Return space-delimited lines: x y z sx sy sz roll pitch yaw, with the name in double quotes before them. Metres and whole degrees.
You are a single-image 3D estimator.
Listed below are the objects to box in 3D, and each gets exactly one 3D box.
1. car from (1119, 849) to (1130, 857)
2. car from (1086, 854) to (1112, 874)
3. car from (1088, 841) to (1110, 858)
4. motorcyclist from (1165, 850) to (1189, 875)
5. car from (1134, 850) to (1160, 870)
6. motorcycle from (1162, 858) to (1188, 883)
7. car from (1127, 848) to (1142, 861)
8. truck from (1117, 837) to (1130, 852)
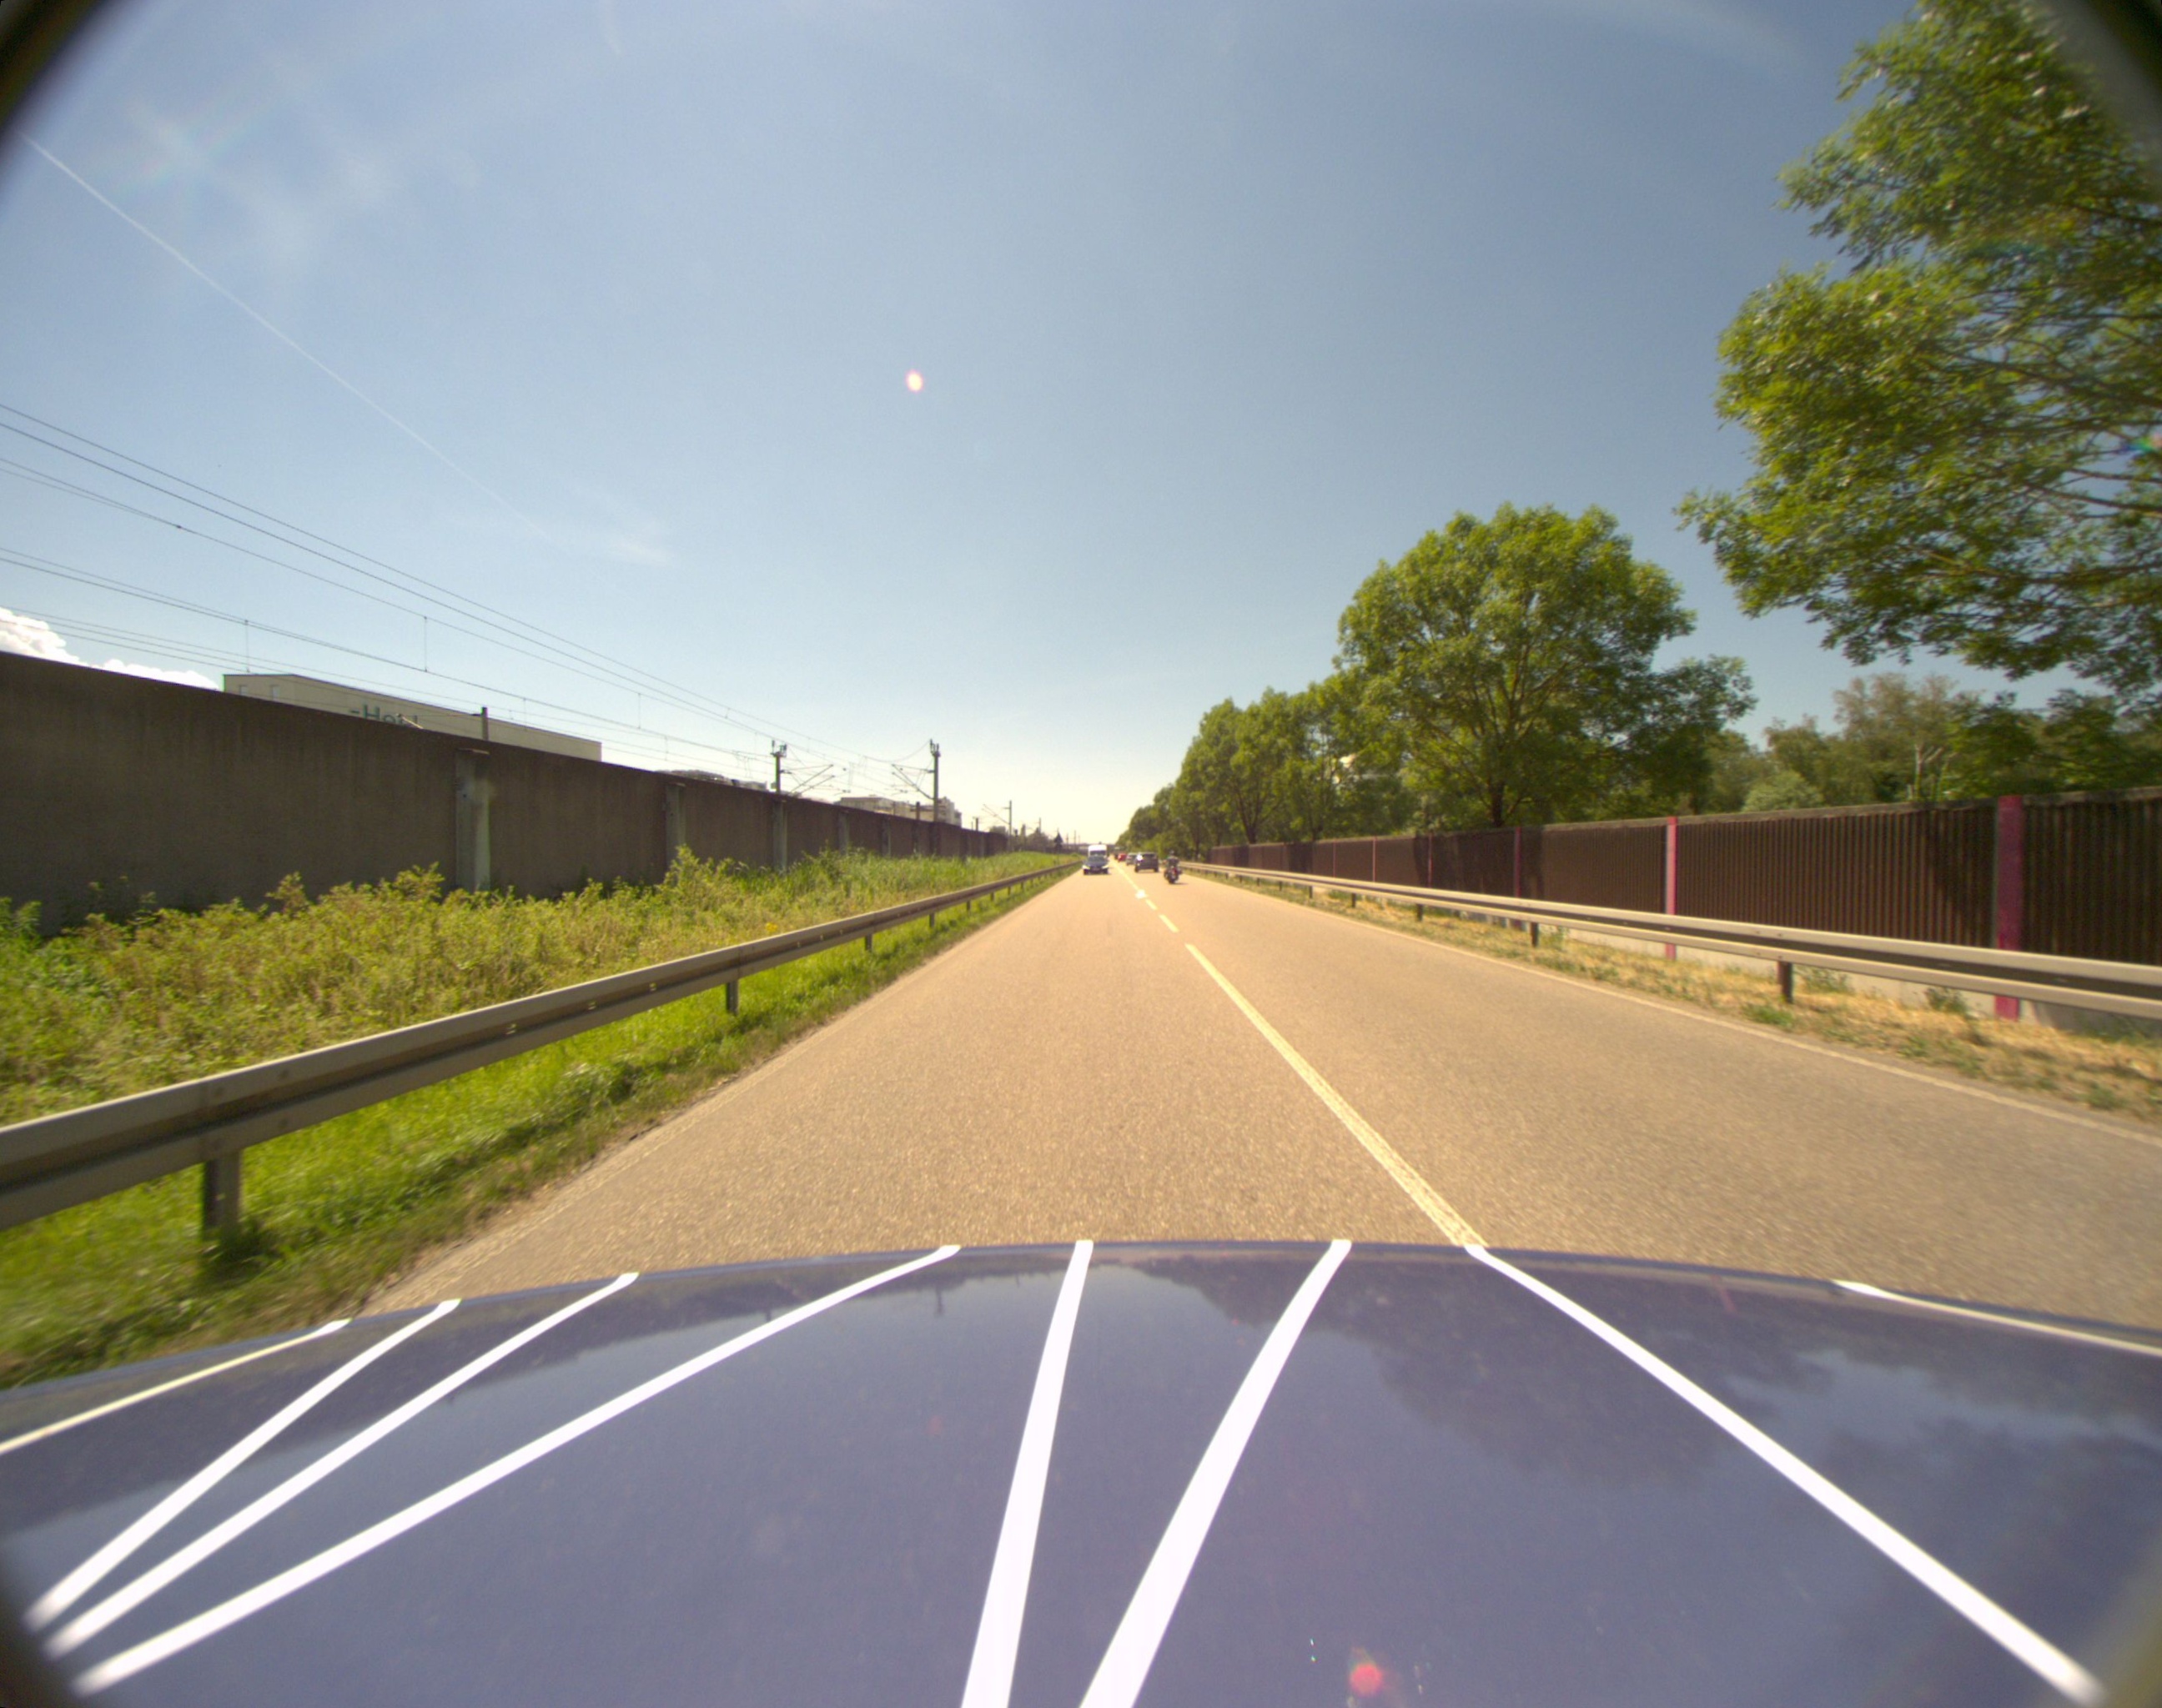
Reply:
"car" 7.549 -0.140 132.541 1.793 1.413 4.000 -1 0 2
"car" 1.293 0.670 54.774 1.758 1.313 4.000 -2 0 2
"car" 1.910 -0.465 80.684 2.161 1.701 4.493 -2 0 2
"motorcyclist" 4.545 0.392 36.068 0.940 1.124 0.927 -4 1 1
"car" 5.179 0.462 60.157 1.794 1.517 4.390 -1 0 1
"motorcycle" 4.491 0.790 36.360 0.956 1.102 2.336 -2 0 1
"car" 6.671 0.066 95.192 1.793 1.517 4.391 -1 0 4
"truck" 10.371 -2.286 185.857 2.790 3.385 7.989 -2 0 2
